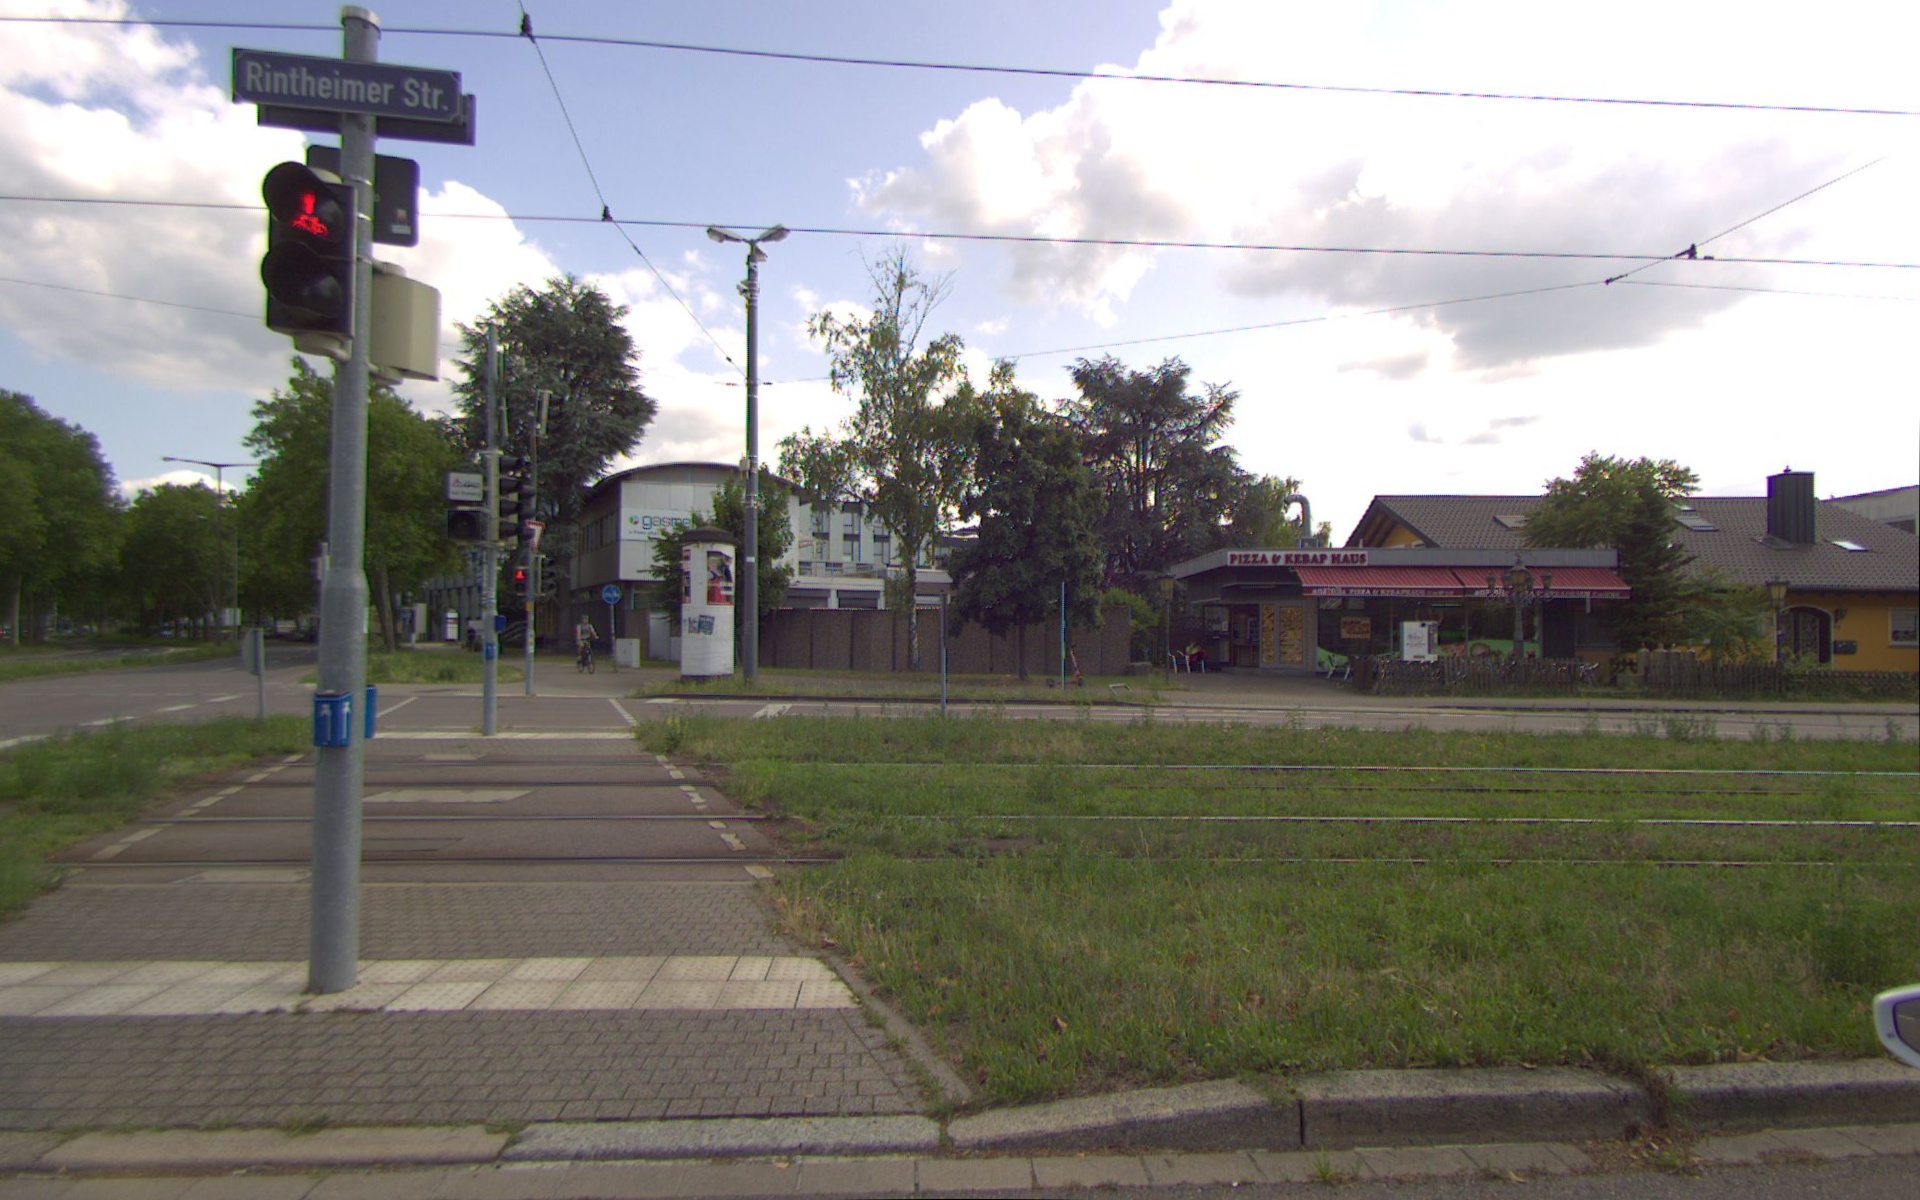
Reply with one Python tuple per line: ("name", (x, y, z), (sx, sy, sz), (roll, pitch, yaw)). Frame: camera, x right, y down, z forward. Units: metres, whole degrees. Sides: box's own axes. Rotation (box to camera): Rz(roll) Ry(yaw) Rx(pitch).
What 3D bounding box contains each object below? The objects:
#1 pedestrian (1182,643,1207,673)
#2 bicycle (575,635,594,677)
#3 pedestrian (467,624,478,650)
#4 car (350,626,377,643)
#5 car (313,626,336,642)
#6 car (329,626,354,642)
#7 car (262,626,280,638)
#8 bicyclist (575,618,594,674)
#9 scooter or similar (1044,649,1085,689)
("pedestrian", (7.832, 1.933, 33.568), (0.712, 0.941, 0.777), (1, 0, 7))
("bicycle", (-12.386, 1.827, 33.122), (0.533, 1.252, 1.942), (1, 0, -22))
("pedestrian", (-30.216, 2.300, 62.252), (0.614, 1.590, 0.555), (1, 0, -26))
("car", (-60.428, 3.503, 101.704), (1.982, 1.595, 3.957), (1, 0, -37))
("car", (-73.759, 3.934, 116.510), (1.982, 1.595, 3.957), (1, 0, -37))
("car", (-68.002, 3.731, 110.465), (1.982, 1.595, 3.957), (1, 0, -37))
("car", (-100.138, 4.656, 146.074), (1.982, 1.595, 3.957), (1, 0, -37))
("bicyclist", (-12.395, 1.509, 33.157), (0.533, 1.834, 0.542), (1, 0, -22))
("scooter or similar", (2.946, 1.943, 28.331), (1.082, 1.073, 0.402), (1, 0, 17))
